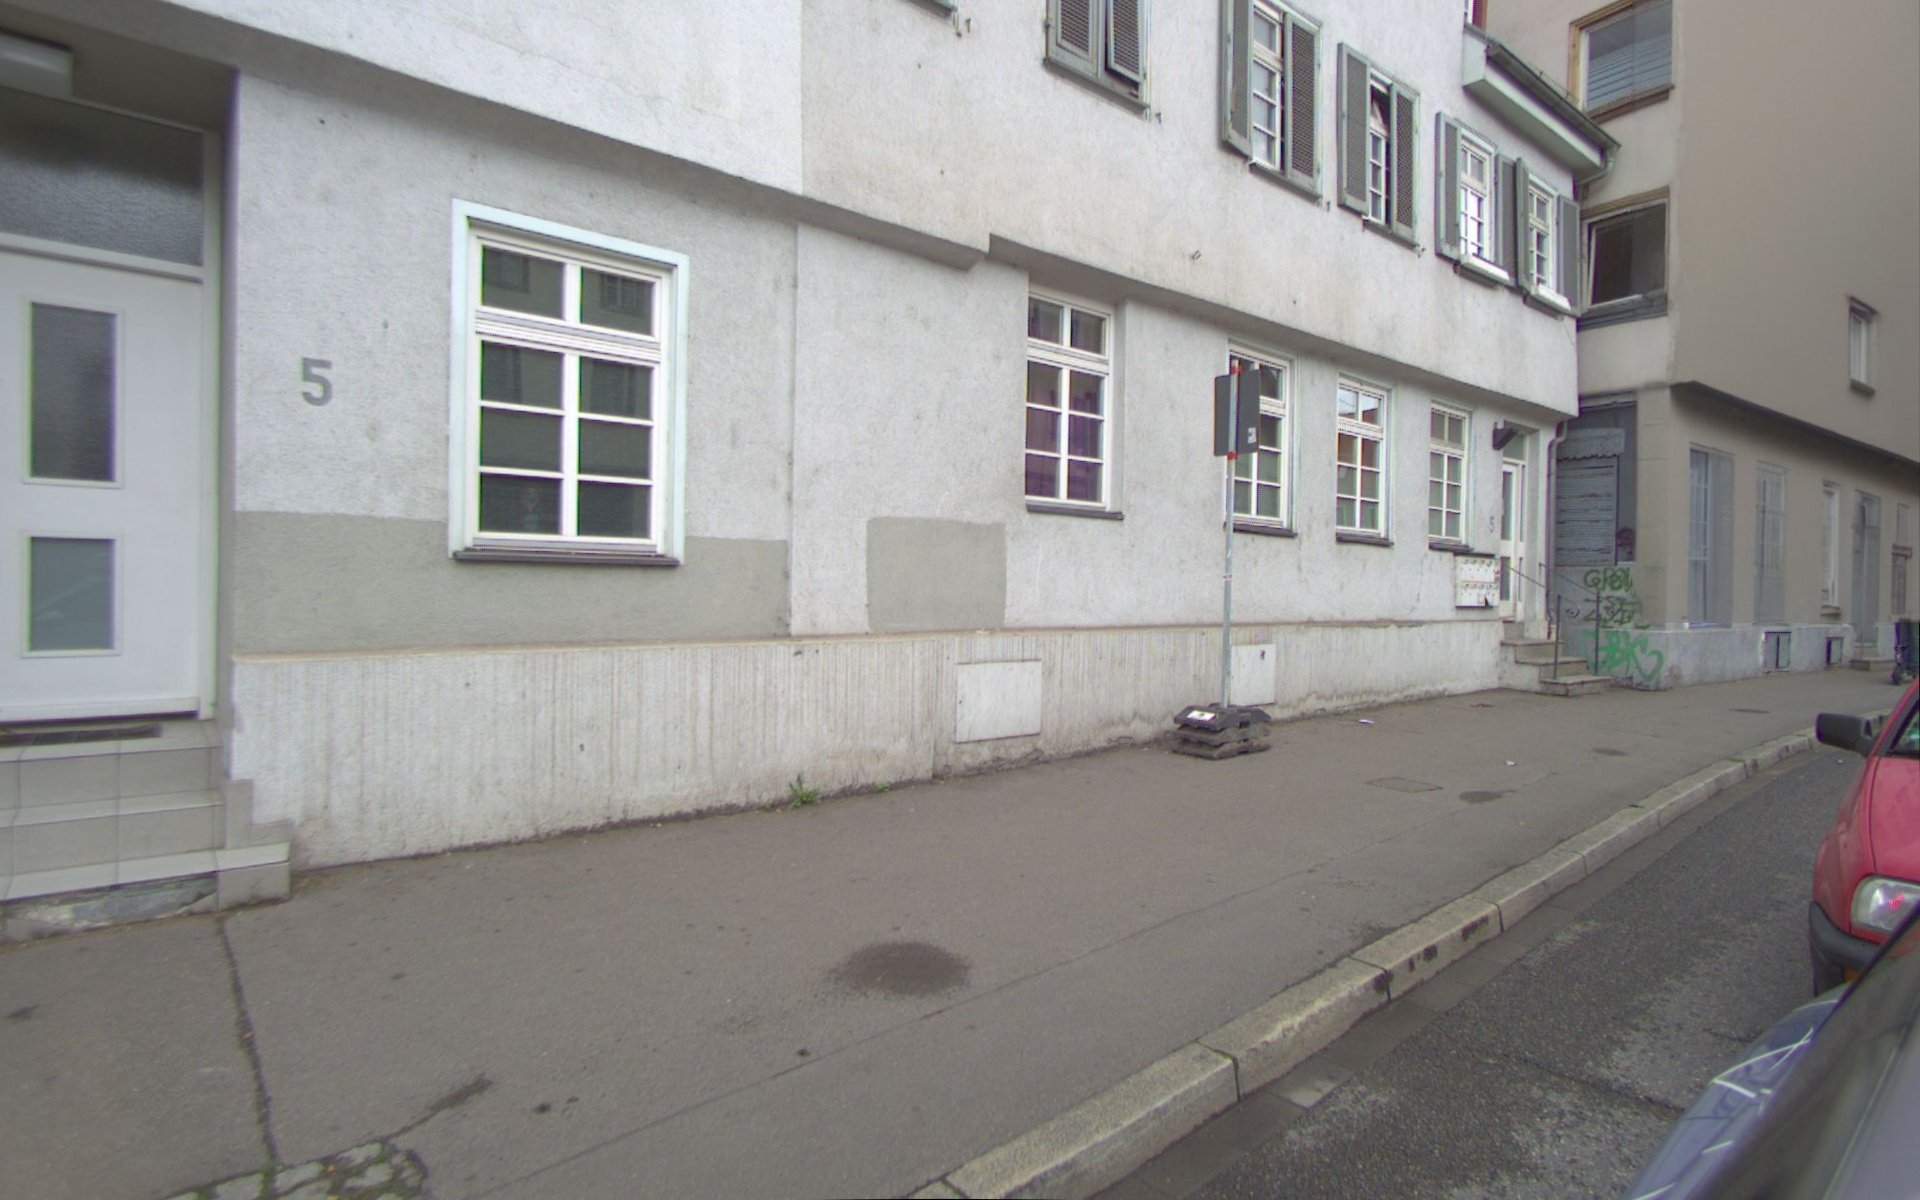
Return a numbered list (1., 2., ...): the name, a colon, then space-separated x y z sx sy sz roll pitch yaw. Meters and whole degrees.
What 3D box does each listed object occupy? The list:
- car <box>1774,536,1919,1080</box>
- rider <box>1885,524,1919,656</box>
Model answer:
1. car: 4.423 0.584 3.517 3.929 1.444 1.791 1 0 -41
2. rider: 13.912 -0.139 14.585 0.783 1.870 0.719 1 1 -41
